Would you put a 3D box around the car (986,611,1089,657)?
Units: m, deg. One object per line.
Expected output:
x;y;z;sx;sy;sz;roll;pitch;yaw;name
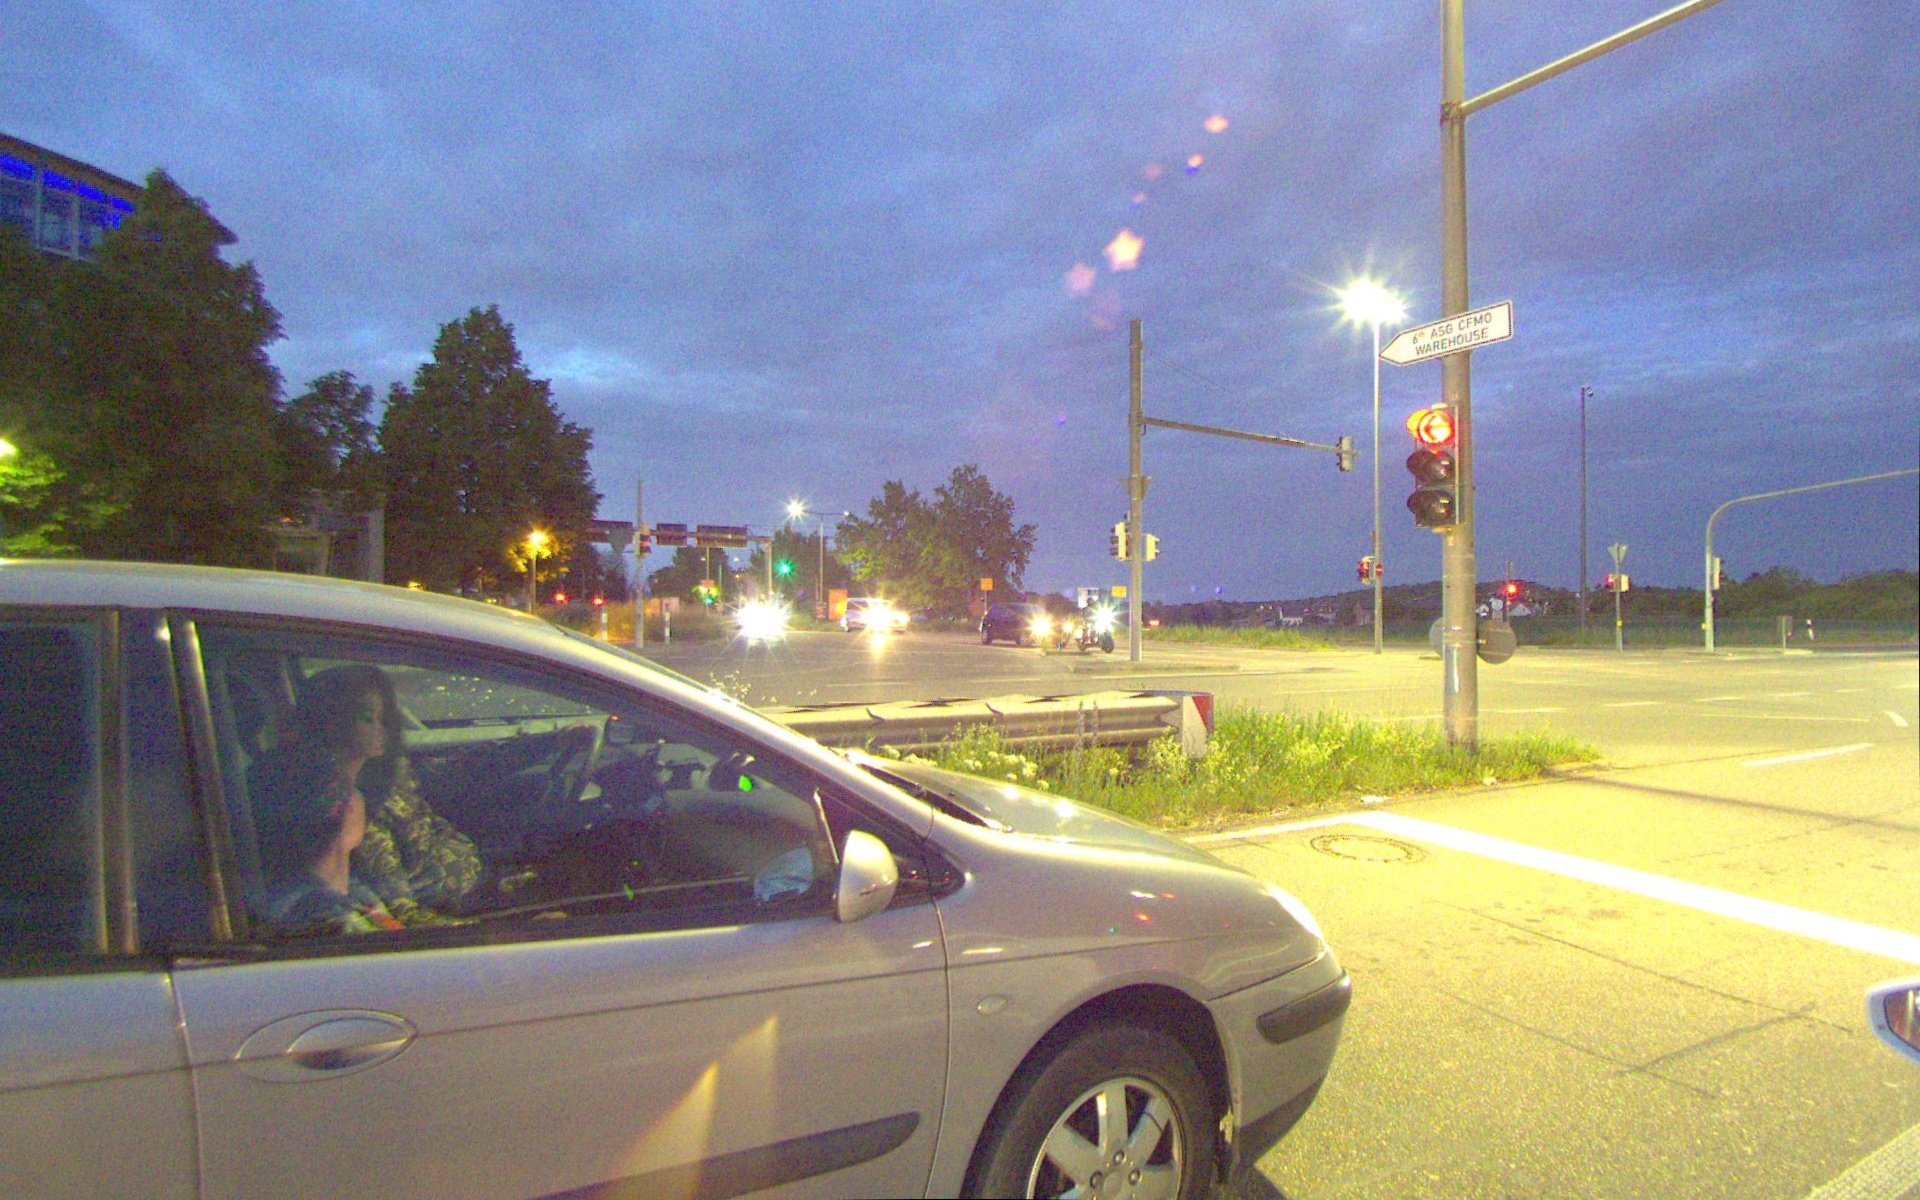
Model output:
2.624;1.138;34.832;1.754;1.467;3.751;1;-1;-30;car

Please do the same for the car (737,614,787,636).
-13.569;1.717;68.722;1.856;1.416;4.798;2;-1;-31;car

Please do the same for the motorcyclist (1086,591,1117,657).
4.427;0.742;31.366;0.628;2.040;0.763;1;0;-25;motorcyclist

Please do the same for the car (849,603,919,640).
-4.027;1.092;52.414;1.827;1.838;4.737;1;-1;-29;car

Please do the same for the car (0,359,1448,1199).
-1.128;0.568;2.060;4.358;1.675;1.658;1;0;-30;car

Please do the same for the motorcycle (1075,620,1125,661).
4.323;1.242;31.124;0.664;1.179;1.797;1;0;-25;motorcycle
